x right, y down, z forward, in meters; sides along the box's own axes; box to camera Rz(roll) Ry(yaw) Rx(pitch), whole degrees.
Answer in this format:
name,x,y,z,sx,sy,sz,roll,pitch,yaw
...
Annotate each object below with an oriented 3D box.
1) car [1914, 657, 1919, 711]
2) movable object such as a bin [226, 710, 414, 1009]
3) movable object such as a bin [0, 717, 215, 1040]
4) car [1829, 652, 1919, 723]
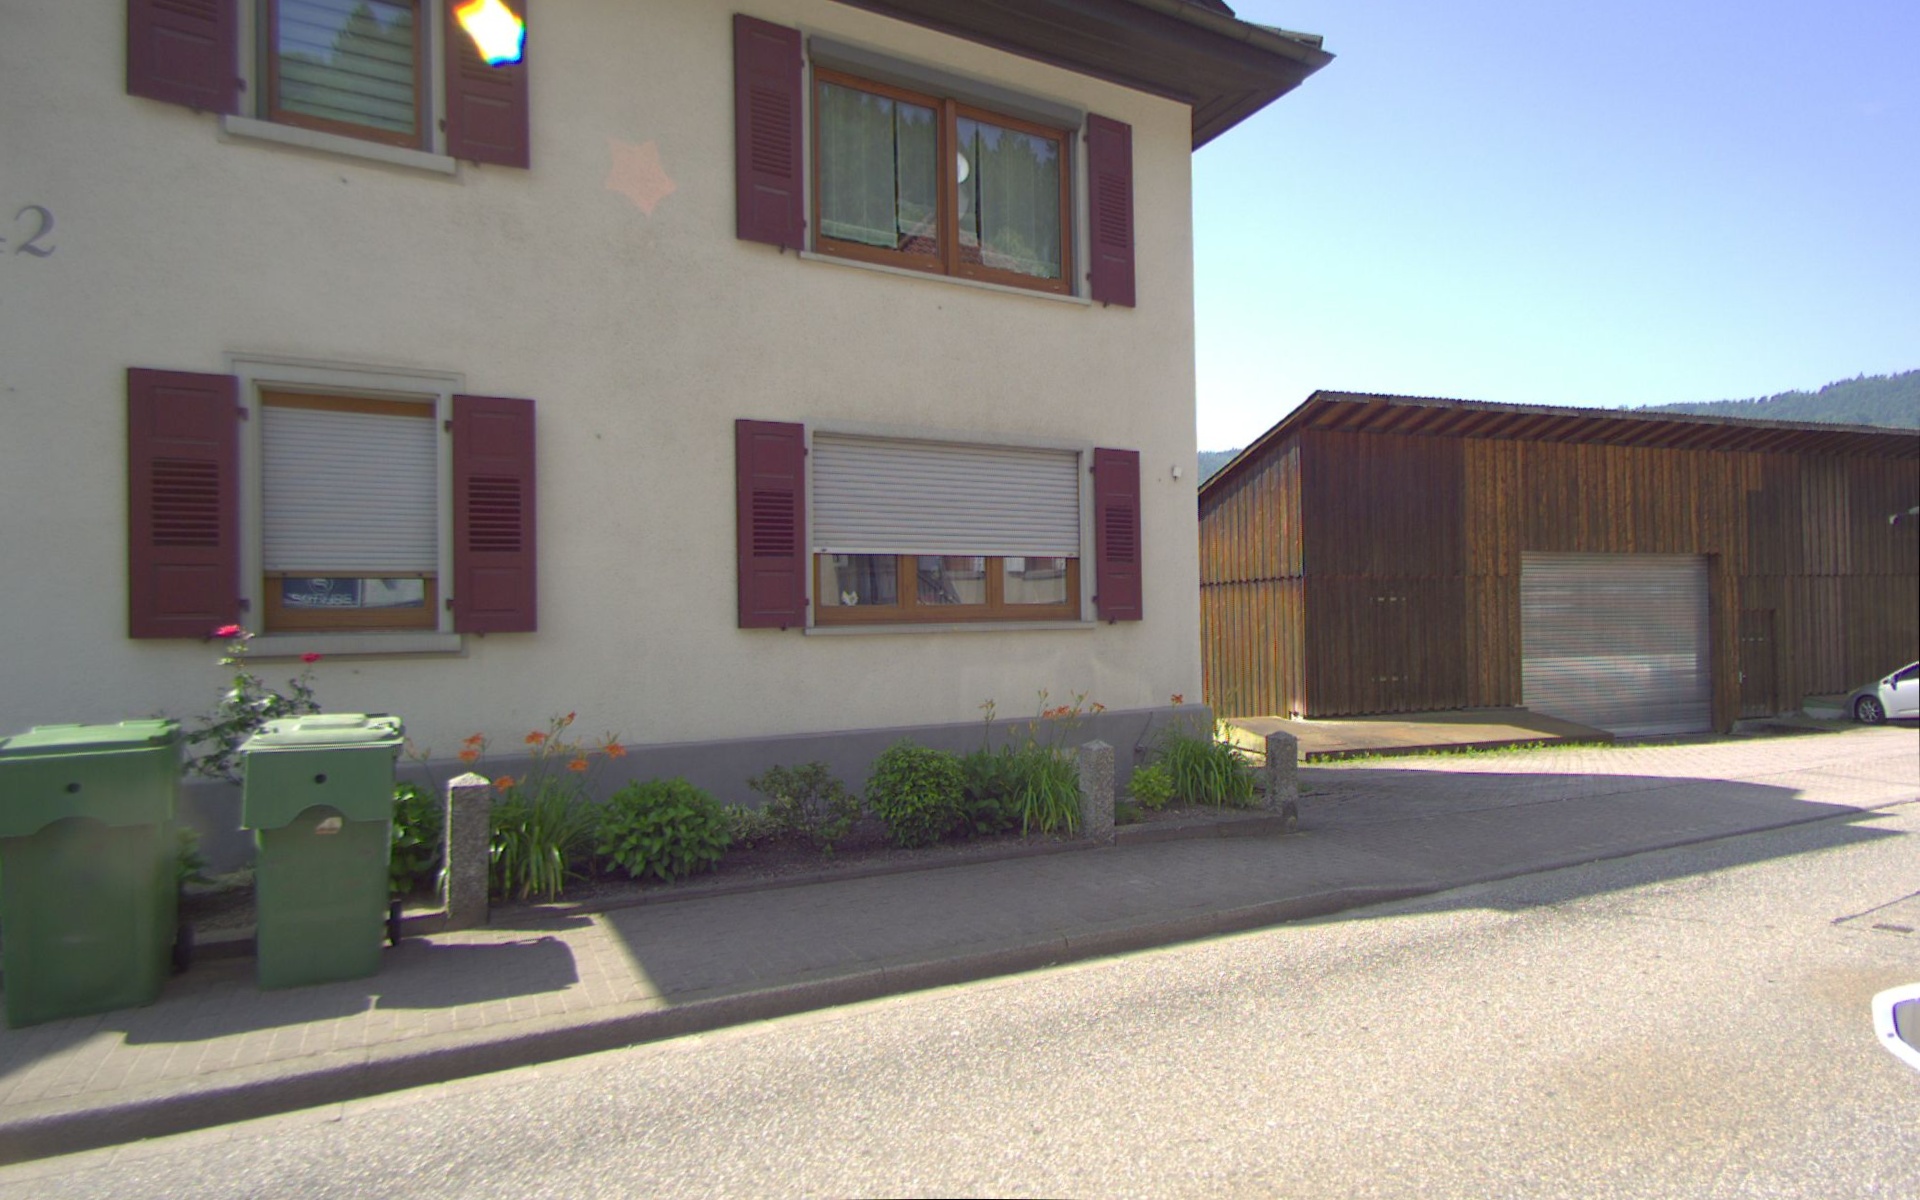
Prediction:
name,x,y,z,sx,sy,sz,roll,pitch,yaw
car,23.820,1.861,22.130,1.681,1.403,3.664,0,-6,-13
movable object such as a bin,-2.714,1.046,4.316,0.614,1.081,0.672,1,-2,-30
movable object such as a bin,-3.409,1.037,3.968,0.646,1.081,0.672,1,-2,-30
car,21.300,1.817,21.171,1.887,1.493,4.446,-1,-6,-3
